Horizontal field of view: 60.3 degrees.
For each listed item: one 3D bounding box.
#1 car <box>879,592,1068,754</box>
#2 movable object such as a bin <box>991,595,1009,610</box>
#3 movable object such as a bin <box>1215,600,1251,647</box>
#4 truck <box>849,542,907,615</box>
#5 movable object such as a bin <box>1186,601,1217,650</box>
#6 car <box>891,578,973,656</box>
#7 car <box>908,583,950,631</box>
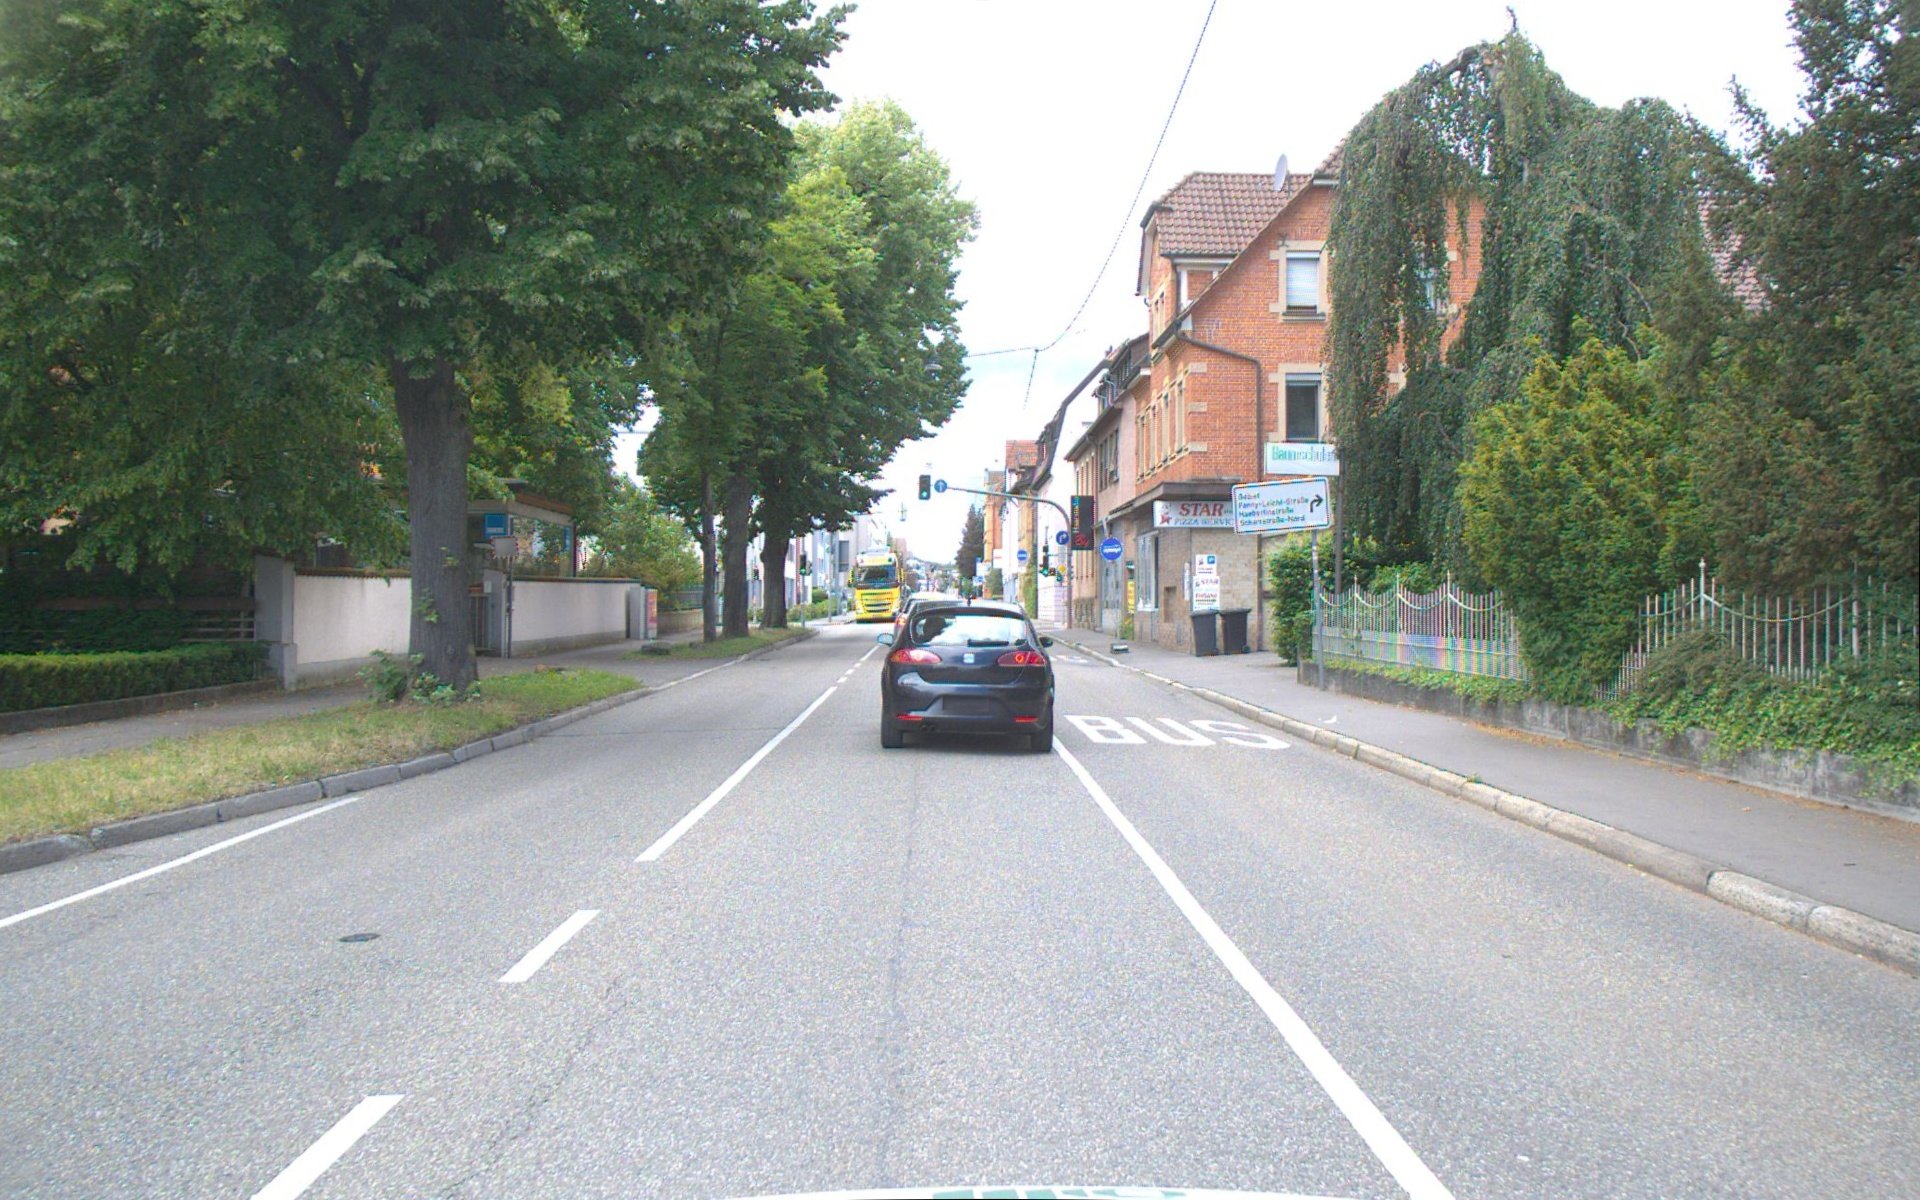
[{"bbox_3d":[0.095,0.693,17.395,1.723,1.467,3.999,2,0,-1],"label":"car"},{"bbox_3d":[4.026,0.219,167.232,1.781,1.462,1.992,2,-1,0],"label":"movable object such as a bin"},{"bbox_3d":[6.424,0.560,38.922,0.684,1.077,0.723,-1,-1,-1],"label":"movable object such as a bin"},{"bbox_3d":[-4.518,-1.112,92.382,2.786,3.848,7.668,2,0,0],"label":"truck"},{"bbox_3d":[5.673,0.591,38.876,0.594,1.120,0.622,-1,-1,-1],"label":"movable object such as a bin"},{"bbox_3d":[-0.681,0.396,39.613,1.805,1.723,3.999,2,0,-1],"label":"car"},{"bbox_3d":[-1.195,0.255,62.749,1.500,1.723,3.692,2,0,-1],"label":"car"}]
